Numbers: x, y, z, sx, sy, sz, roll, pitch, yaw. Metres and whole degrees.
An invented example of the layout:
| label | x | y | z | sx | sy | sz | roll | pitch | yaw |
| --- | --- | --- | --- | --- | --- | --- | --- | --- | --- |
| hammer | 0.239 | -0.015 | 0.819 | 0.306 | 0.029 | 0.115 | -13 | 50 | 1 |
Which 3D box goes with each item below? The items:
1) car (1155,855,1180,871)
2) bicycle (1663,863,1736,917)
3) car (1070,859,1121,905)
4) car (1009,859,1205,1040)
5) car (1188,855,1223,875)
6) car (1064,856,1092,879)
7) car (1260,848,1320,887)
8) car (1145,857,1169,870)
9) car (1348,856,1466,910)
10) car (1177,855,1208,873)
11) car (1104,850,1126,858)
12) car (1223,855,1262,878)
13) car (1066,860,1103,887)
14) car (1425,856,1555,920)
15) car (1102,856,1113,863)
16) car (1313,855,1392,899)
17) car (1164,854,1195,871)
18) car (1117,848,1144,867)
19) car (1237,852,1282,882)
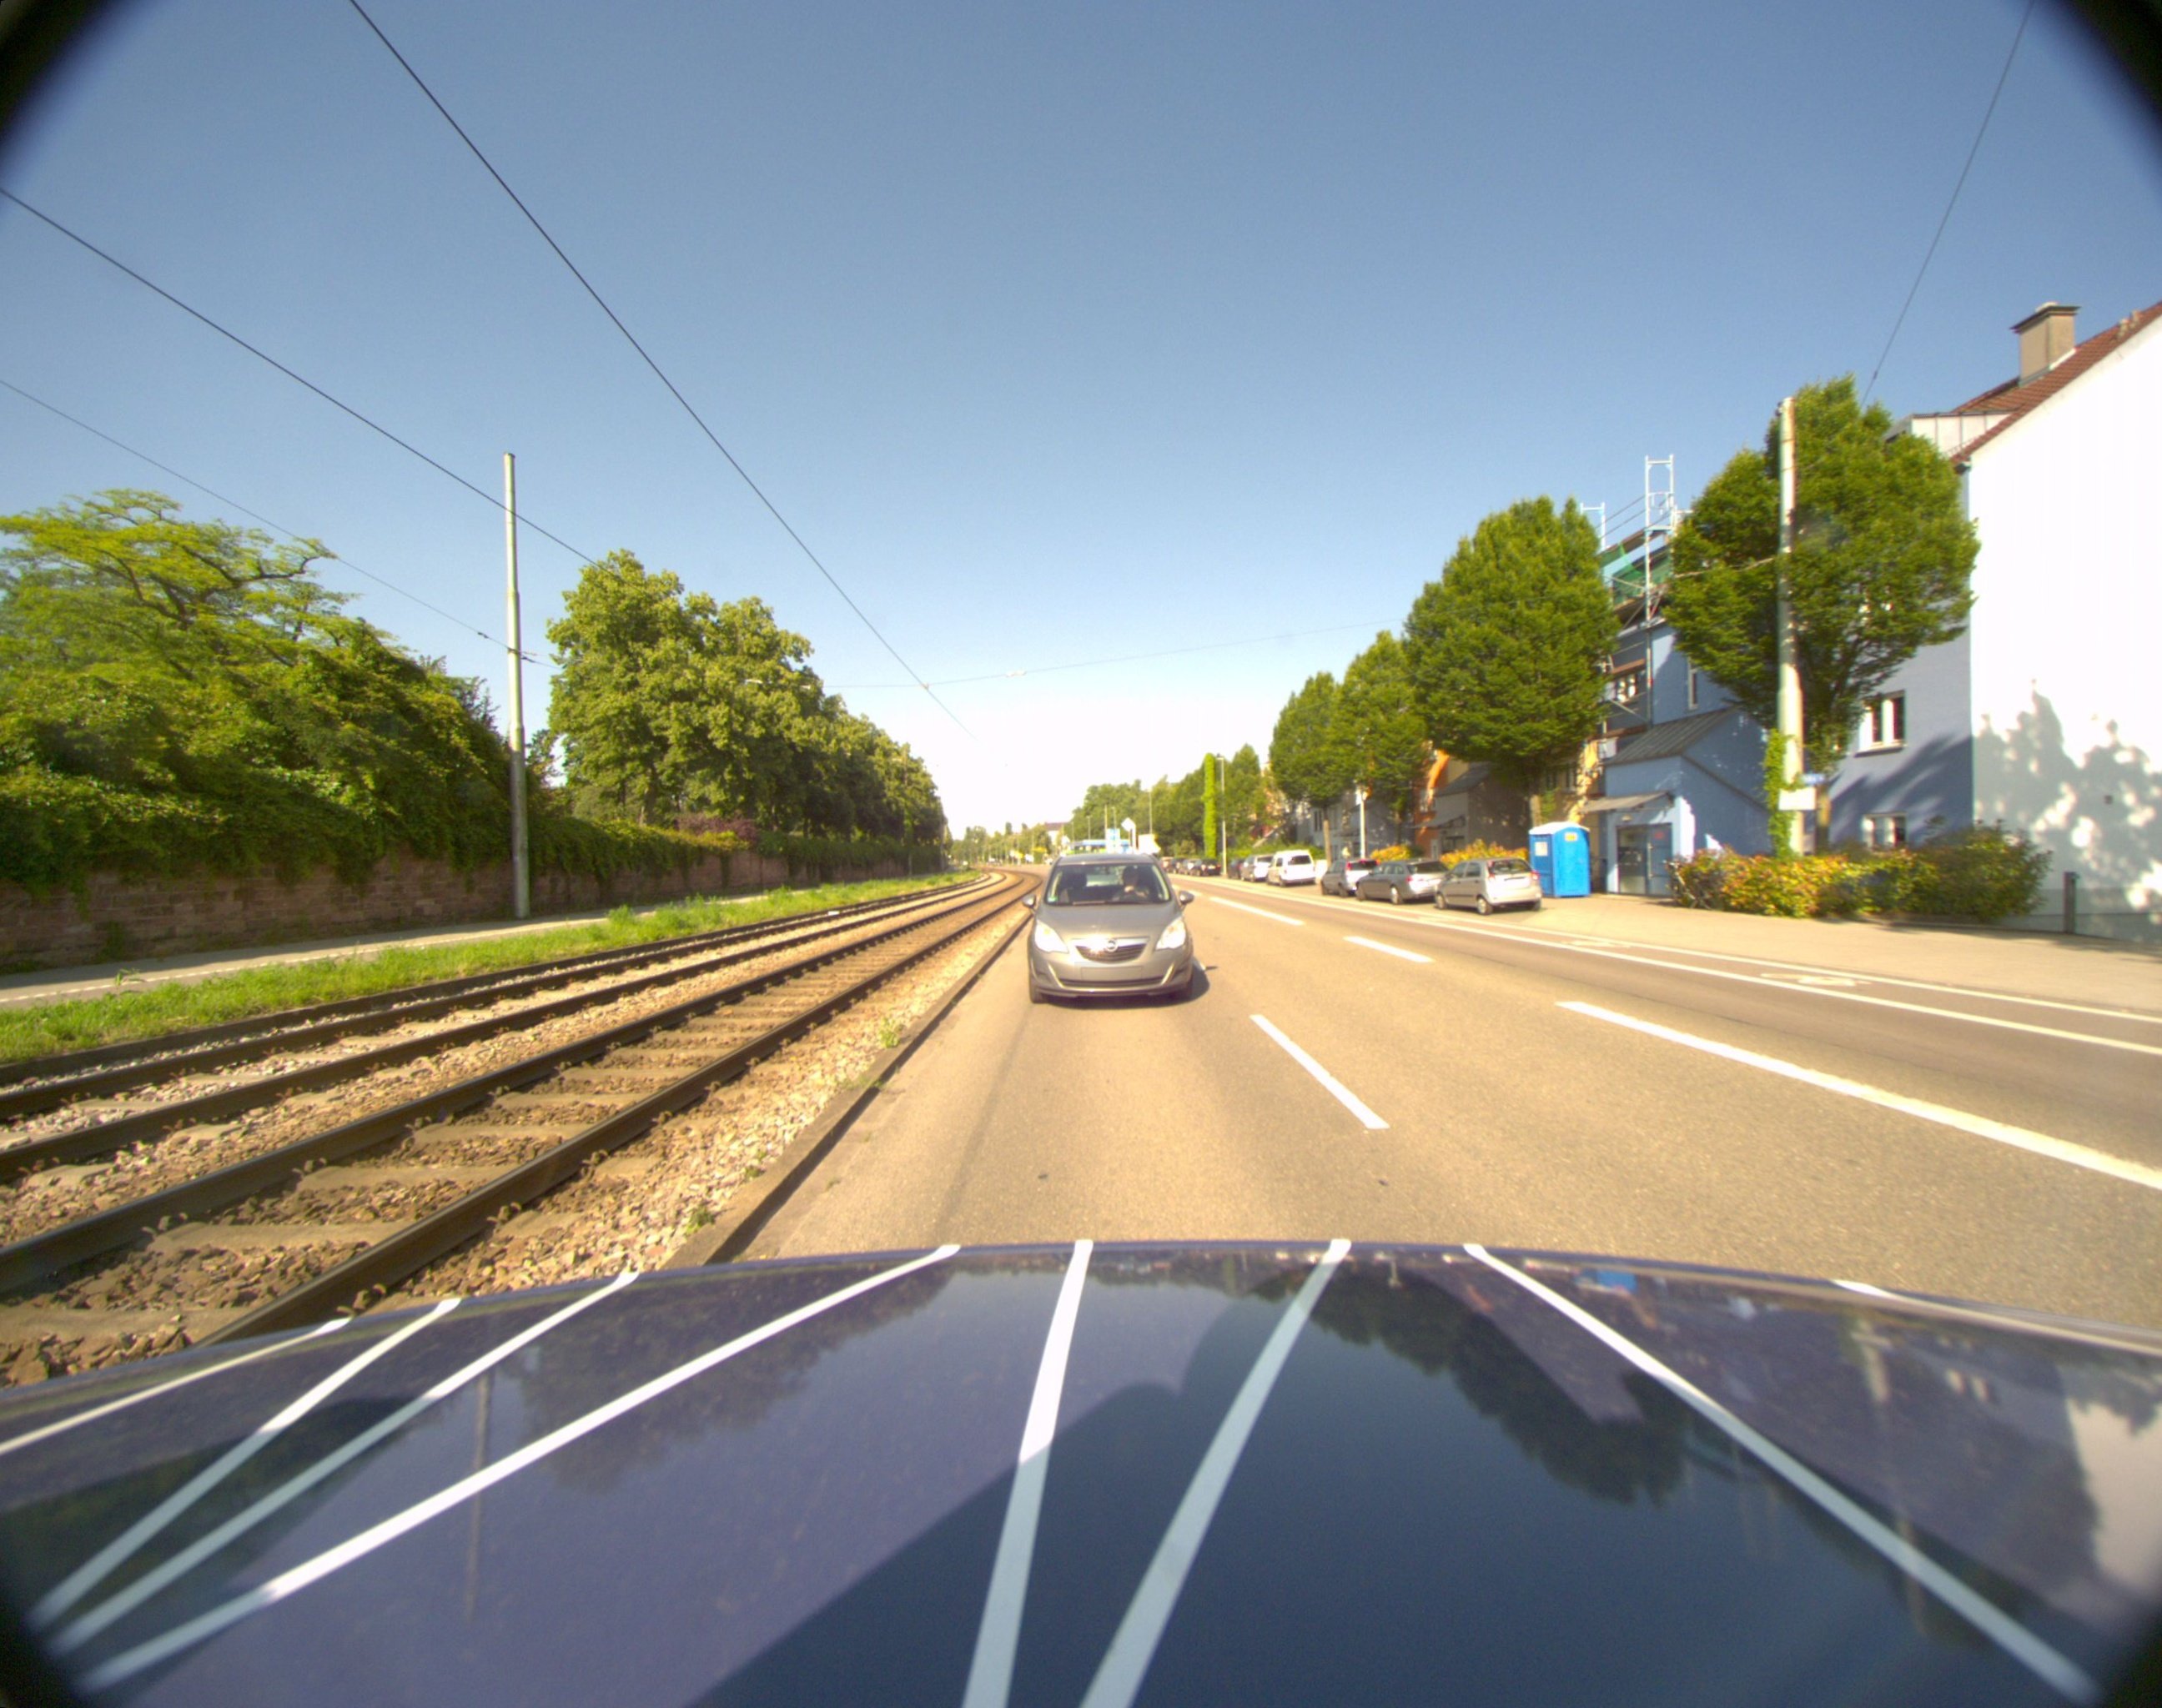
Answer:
| label | x | y | z | sx | sy | sz | roll | pitch | yaw |
| --- | --- | --- | --- | --- | --- | --- | --- | --- | --- |
| car | 9.263 | 0.913 | 81.526 | 1.768 | 1.565 | 4.159 | -2 | 1 | -6 |
| bicycle | 14.320 | 0.804 | 17.643 | 0.444 | 1.147 | 1.785 | -1 | 1 | 7 |
| car | 0.499 | 0.989 | 28.339 | 1.710 | 1.487 | 4.000 | -3 | 0 | 0 |
| car | 0.304 | 0.889 | 8.797 | 1.730 | 1.574 | 3.764 | -2 | 0 | 2 |
| car | 10.516 | 0.894 | 64.441 | 1.871 | 1.535 | 4.908 | -3 | 0 | -3 |
| car | -0.280 | 0.977 | 56.641 | 1.710 | 1.581 | 3.998 | -3 | 0 | -4 |
| car | 11.306 | 0.694 | 41.413 | 1.767 | 1.835 | 4.579 | -6 | 0 | -1 |
| car | 8.636 | 1.060 | 86.826 | 1.657 | 1.416 | 4.710 | -1 | 0 | -7 |
| car | 11.059 | 0.915 | 26.179 | 1.753 | 1.502 | 4.754 | -6 | 0 | -2 |
| car | 10.283 | 0.922 | 70.321 | 1.717 | 1.463 | 4.841 | -3 | 1 | -5 |
| car | 8.494 | 0.087 | 189.450 | 5.086 | 1.929 | 1.856 | -1 | 0 | -5 |
| car | 11.237 | 0.847 | 53.112 | 1.620 | 1.457 | 4.057 | -3 | 0 | -2 |
| car | 0.138 | 1.020 | 40.844 | 1.579 | 1.306 | 3.998 | -3 | 0 | -4 |
| car | 11.245 | 0.872 | 21.182 | 1.605 | 1.486 | 3.509 | -6 | 0 | 0 |
| car | 6.070 | 1.301 | 171.928 | 1.742 | 1.482 | 4.271 | -1 | 0 | -8 |
| car | 11.113 | 0.887 | 31.402 | 1.767 | 1.530 | 3.981 | -6 | 0 | 1 |
| car | 9.746 | 0.866 | 75.660 | 1.768 | 1.564 | 4.433 | -2 | 0 | -10 |
| car | 6.619 | 0.496 | 101.644 | 2.159 | 2.443 | 6.179 | -4 | 0 | -9 |
| car | 11.127 | 0.749 | 47.649 | 1.672 | 1.691 | 4.824 | -3 | 0 | 0 |
